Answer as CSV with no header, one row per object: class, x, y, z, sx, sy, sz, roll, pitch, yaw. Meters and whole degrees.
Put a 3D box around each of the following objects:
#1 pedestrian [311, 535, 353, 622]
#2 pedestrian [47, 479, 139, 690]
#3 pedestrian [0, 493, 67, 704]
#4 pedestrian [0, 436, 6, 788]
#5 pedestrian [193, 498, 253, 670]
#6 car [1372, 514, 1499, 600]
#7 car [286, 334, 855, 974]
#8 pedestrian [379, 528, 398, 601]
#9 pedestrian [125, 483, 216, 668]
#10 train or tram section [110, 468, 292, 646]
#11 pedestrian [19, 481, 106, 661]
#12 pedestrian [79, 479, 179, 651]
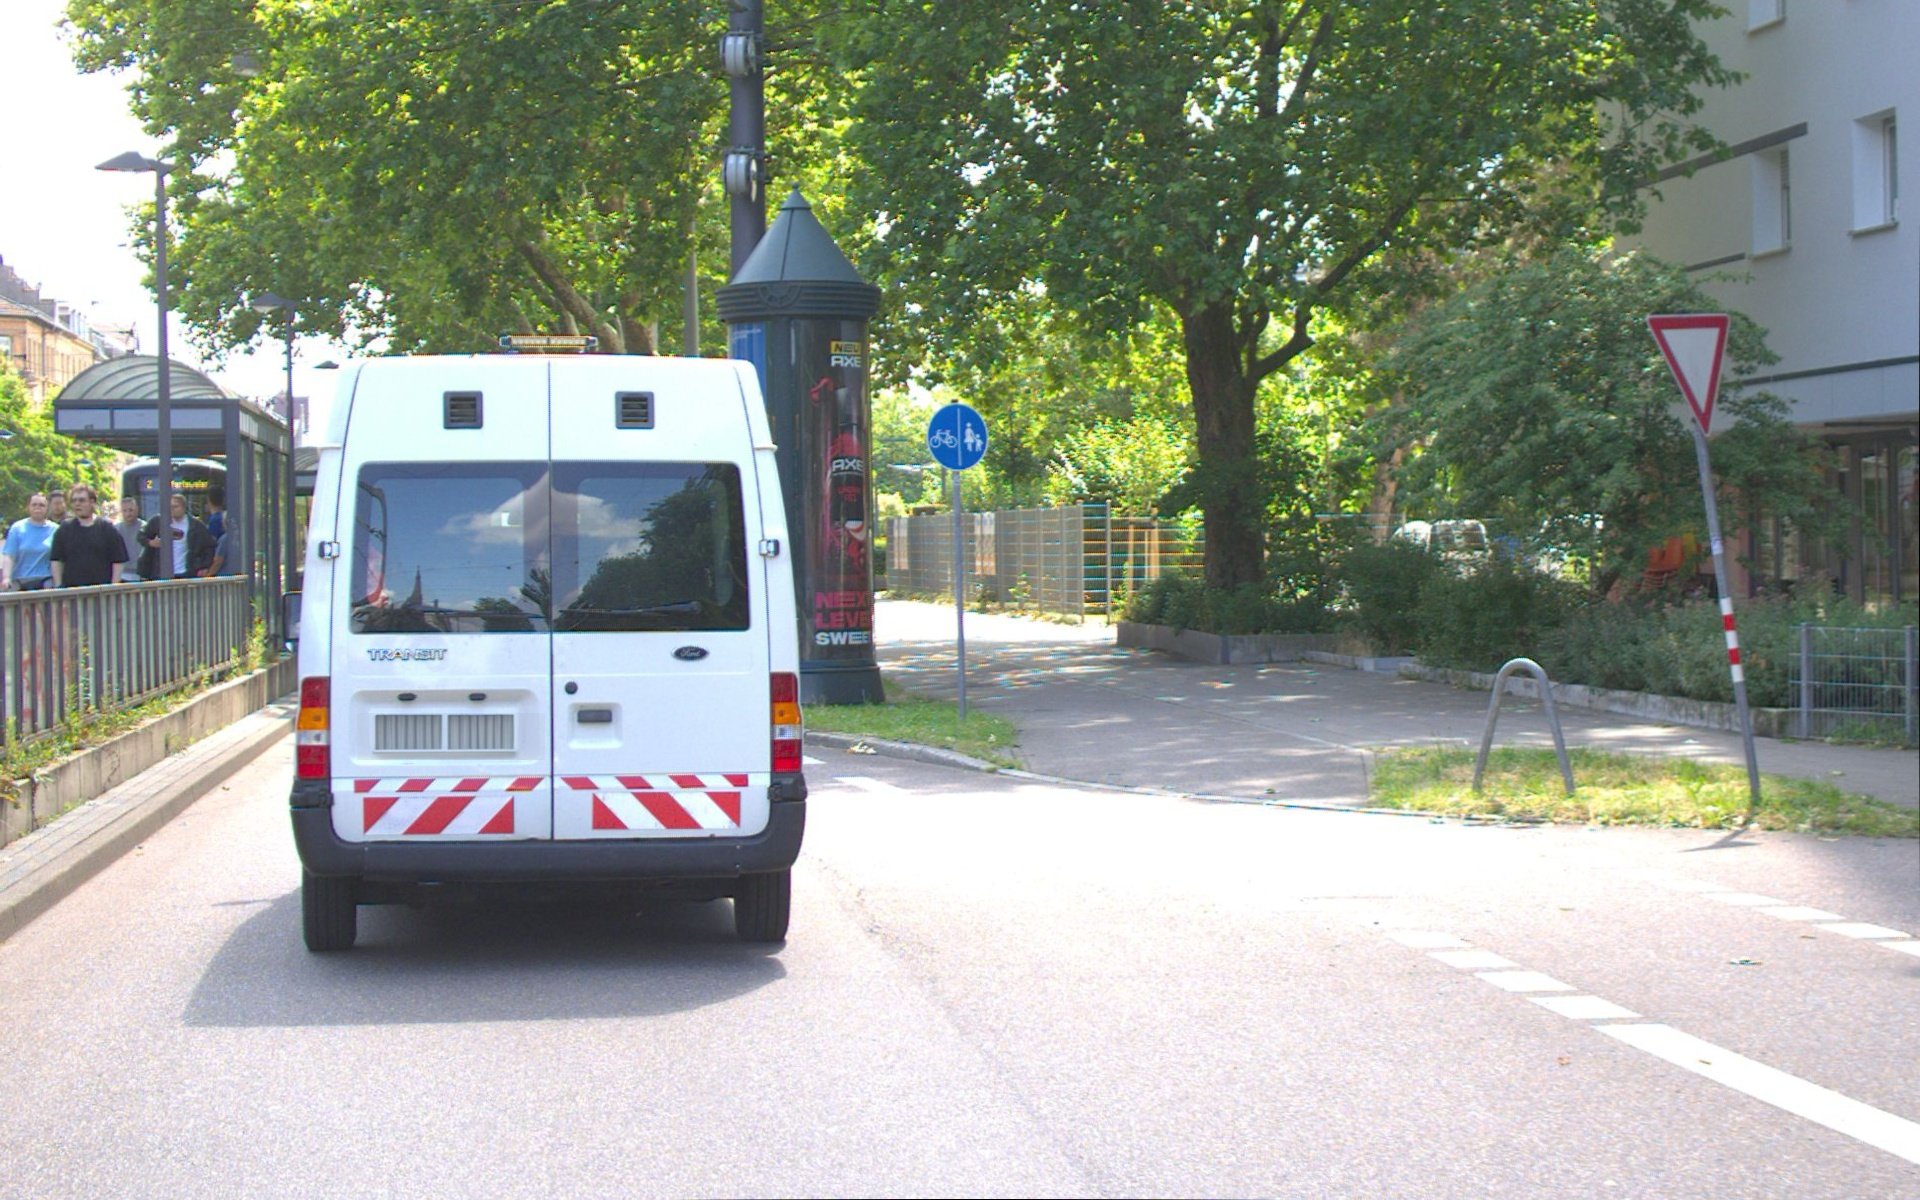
pedestrian,-11.008,-0.384,60.243,0.675,1.510,0.596,-1,1,-8
pedestrian,-7.697,-0.140,30.540,0.701,1.843,0.789,0,0,-8
pedestrian,-8.348,-0.018,30.520,0.701,1.843,0.908,0,0,-8
pedestrian,-5.542,0.069,18.187,0.827,1.892,0.846,0,0,-7
pedestrian,-8.173,-0.182,38.119,0.470,1.894,0.537,-1,1,-32
car,10.390,-0.949,75.447,1.807,1.808,4.340,0,1,-5
car,-1.710,0.150,15.001,2.047,2.325,4.715,-1,1,-7
pedestrian,-12.455,-0.767,74.931,0.385,1.586,0.439,-1,1,-8
pedestrian,-8.111,-0.255,35.360,0.810,1.866,1.031,0,1,-8
train or tram section,-16.479,-0.953,75.412,2.723,3.572,13.019,0,1,-7
pedestrian,-9.077,-0.300,34.806,0.711,1.794,1.133,0,1,-8
pedestrian,-8.870,-0.384,36.740,0.886,1.794,1.495,0,1,-8
